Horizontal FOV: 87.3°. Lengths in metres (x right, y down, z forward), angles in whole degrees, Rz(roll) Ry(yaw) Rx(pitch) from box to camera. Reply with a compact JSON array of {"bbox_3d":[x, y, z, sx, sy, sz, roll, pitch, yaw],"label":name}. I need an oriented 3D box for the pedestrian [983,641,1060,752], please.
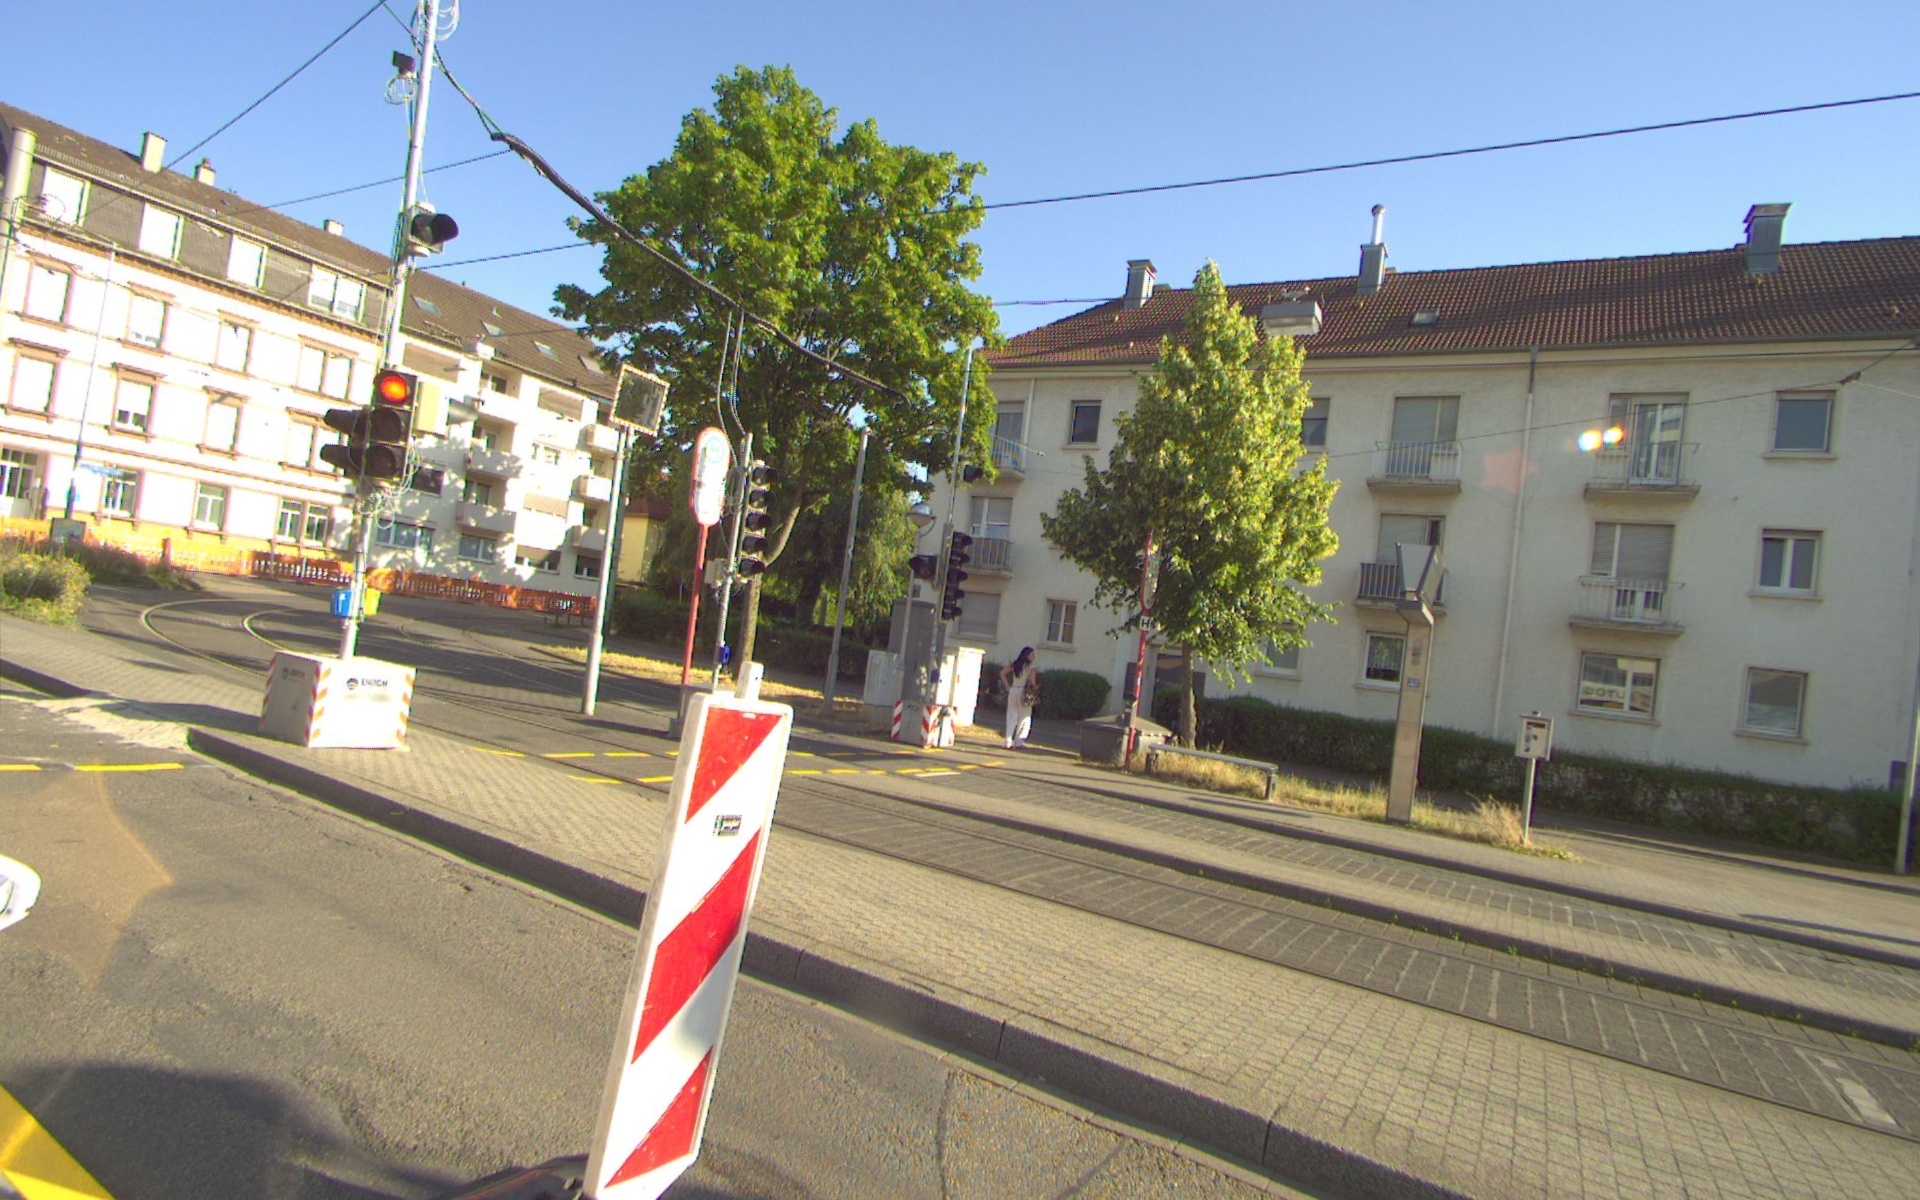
[{"bbox_3d":[0.999,1.544,16.206,0.812,1.639,0.790,7,-1,28],"label":"pedestrian"}]
